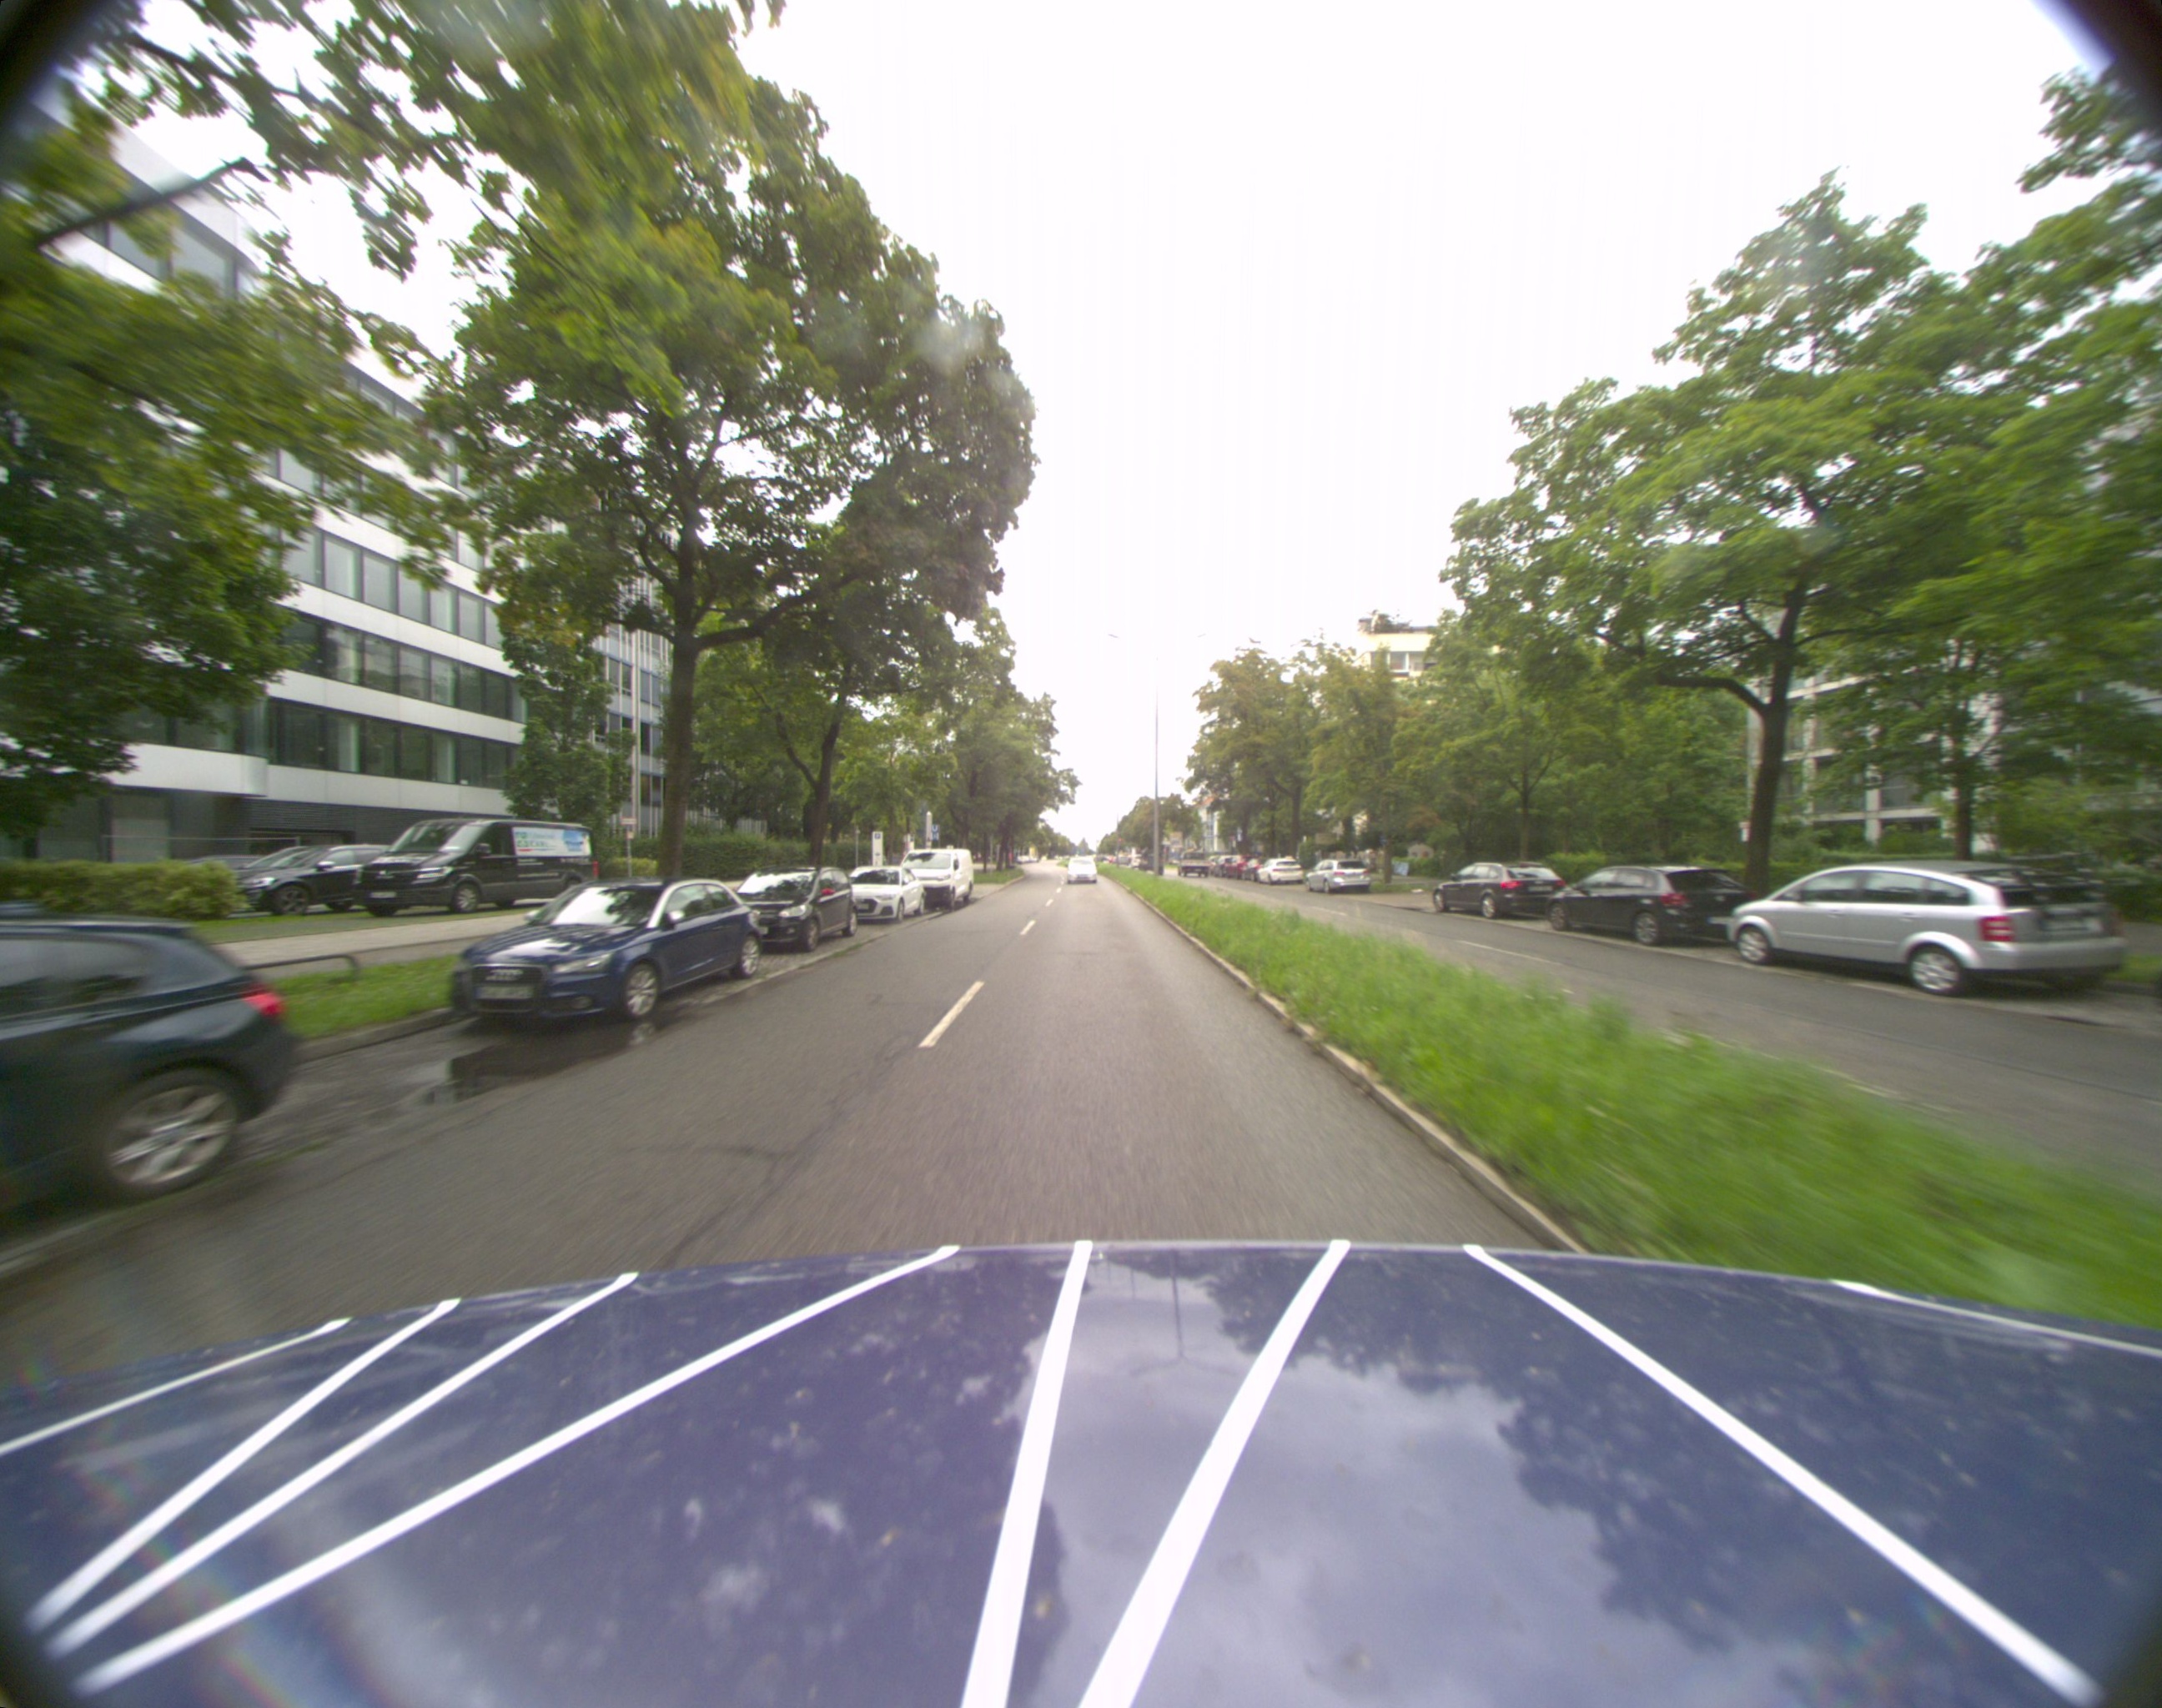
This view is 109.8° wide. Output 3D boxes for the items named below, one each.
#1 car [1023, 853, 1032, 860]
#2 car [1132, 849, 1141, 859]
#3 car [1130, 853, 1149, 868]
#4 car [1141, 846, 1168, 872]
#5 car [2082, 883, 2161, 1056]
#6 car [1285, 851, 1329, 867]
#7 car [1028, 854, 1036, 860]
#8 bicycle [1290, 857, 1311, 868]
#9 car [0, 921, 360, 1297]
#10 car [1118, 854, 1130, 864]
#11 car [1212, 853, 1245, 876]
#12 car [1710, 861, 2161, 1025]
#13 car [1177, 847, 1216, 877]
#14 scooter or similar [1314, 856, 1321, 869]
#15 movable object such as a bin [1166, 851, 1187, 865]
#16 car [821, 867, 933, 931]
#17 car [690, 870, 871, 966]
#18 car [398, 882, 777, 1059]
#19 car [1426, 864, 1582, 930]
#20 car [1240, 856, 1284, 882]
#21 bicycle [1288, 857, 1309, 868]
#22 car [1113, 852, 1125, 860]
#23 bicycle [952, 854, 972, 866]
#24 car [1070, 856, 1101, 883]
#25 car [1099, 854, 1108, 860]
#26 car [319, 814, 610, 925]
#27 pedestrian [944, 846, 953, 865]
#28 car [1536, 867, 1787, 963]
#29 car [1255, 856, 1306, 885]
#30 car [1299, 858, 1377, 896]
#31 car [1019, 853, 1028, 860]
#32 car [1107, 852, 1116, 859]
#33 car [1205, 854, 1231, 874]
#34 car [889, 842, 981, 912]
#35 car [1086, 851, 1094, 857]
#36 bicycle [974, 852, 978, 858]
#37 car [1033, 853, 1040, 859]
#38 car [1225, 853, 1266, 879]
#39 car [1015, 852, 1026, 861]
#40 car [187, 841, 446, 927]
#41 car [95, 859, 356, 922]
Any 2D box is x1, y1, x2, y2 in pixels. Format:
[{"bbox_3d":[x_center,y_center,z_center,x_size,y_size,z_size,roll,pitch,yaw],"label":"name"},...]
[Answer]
[{"bbox_3d":[-11.671,0.494,166.658,1.682,1.522,4.096,1,0,1],"label":"car"},{"bbox_3d":[11.787,-0.020,161.904,1.801,1.986,4.546,0,0,1],"label":"car"},{"bbox_3d":[6.522,0.719,85.559,1.838,1.633,4.350,1,0,0],"label":"car"},{"bbox_3d":[6.018,0.363,62.534,1.785,2.017,4.818,1,0,0],"label":"car"},{"bbox_3d":[10.611,1.034,4.872,1.720,1.515,5.034,-3,0,0],"label":"car"},{"bbox_3d":[22.968,0.505,77.424,3.996,1.579,1.749,0,0,2],"label":"car"},{"bbox_3d":[-11.419,0.681,177.364,1.590,1.310,3.734,1,0,1],"label":"car"},{"bbox_3d":[19.806,0.776,68.611,1.766,1.001,0.436,0,1,0],"label":"bicycle"},{"bbox_3d":[-5.368,1.126,2.412,1.705,1.400,4.513,1,0,3],"label":"car"},{"bbox_3d":[6.915,0.795,122.774,1.770,1.615,4.376,1,0,1],"label":"car"},{"bbox_3d":[11.381,0.786,58.931,1.743,1.634,4.684,-1,0,1],"label":"car"},{"bbox_3d":[10.708,0.962,10.016,1.629,1.638,3.867,-3,0,1],"label":"car"},{"bbox_3d":[9.026,0.592,59.901,2.215,2.181,5.799,2,0,0],"label":"car"},{"bbox_3d":[19.650,0.716,63.233,0.436,1.120,1.291,0,0,13],"label":"scooter or similar"},{"bbox_3d":[13.599,0.537,108.536,2.199,1.941,3.998,0,0,-5],"label":"movable object such as a bin"},{"bbox_3d":[-5.178,1.081,19.866,1.706,1.389,4.233,1,0,1],"label":"car"},{"bbox_3d":[-5.342,1.061,14.102,1.706,1.438,3.978,1,0,1],"label":"car"},{"bbox_3d":[-5.274,1.127,8.904,1.706,1.413,4.121,1,0,1],"label":"car"},{"bbox_3d":[10.811,1.027,19.807,1.584,1.415,4.362,-3,0,0],"label":"car"},{"bbox_3d":[11.326,0.900,47.886,1.743,1.474,4.334,-2,0,1],"label":"car"},{"bbox_3d":[19.806,0.792,69.204,1.766,1.001,0.436,0,1,0],"label":"bicycle"},{"bbox_3d":[7.140,0.368,144.165,1.920,1.475,4.864,1,0,-2],"label":"car"},{"bbox_3d":[-12.354,0.619,79.111,1.958,1.182,0.595,3,-1,-34],"label":"bicycle"},{"bbox_3d":[0.260,0.865,43.125,1.679,1.433,3.734,1,0,1],"label":"car"},{"bbox_3d":[5.270,0.711,178.321,1.962,1.471,4.259,0,0,1],"label":"car"},{"bbox_3d":[-14.818,0.325,19.015,2.271,2.293,6.267,1,0,-1],"label":"car"},{"bbox_3d":[-12.855,0.150,73.697,0.652,1.888,0.750,1,0,13],"label":"pedestrian"},{"bbox_3d":[10.777,1.041,14.558,1.629,1.415,4.192,-3,0,2],"label":"car"},{"bbox_3d":[11.209,0.892,43.050,1.743,1.521,4.475,-2,0,1],"label":"car"},{"bbox_3d":[11.153,0.956,33.315,1.741,1.440,4.822,-2,0,0],"label":"car"},{"bbox_3d":[-11.889,0.599,156.473,1.627,1.373,4.194,1,0,-1],"label":"car"},{"bbox_3d":[6.575,0.307,162.513,1.696,1.394,3.967,0,0,-1],"label":"car"},{"bbox_3d":[11.585,0.814,64.410,1.651,1.605,3.819,-1,0,2],"label":"car"},{"bbox_3d":[-4.871,0.714,26.196,1.992,2.145,5.555,1,0,1],"label":"car"},{"bbox_3d":[2.153,-0.042,190.364,1.787,1.397,4.101,1,0,-1],"label":"car"},{"bbox_3d":[-23.157,0.247,167.789,0.512,1.185,2.141,0,1,-1],"label":"bicycle"},{"bbox_3d":[-11.303,0.602,194.458,1.590,1.495,3.734,1,0,1],"label":"car"},{"bbox_3d":[11.380,0.807,52.936,1.743,1.642,4.605,-2,0,-1],"label":"car"},{"bbox_3d":[-11.682,0.435,146.872,1.866,1.581,4.602,1,0,-2],"label":"car"},{"bbox_3d":[-18.205,0.636,18.474,1.847,1.807,4.471,1,0,-1],"label":"car"},{"bbox_3d":[-21.388,0.833,19.239,1.784,1.366,3.970,0,0,19],"label":"car"}]
